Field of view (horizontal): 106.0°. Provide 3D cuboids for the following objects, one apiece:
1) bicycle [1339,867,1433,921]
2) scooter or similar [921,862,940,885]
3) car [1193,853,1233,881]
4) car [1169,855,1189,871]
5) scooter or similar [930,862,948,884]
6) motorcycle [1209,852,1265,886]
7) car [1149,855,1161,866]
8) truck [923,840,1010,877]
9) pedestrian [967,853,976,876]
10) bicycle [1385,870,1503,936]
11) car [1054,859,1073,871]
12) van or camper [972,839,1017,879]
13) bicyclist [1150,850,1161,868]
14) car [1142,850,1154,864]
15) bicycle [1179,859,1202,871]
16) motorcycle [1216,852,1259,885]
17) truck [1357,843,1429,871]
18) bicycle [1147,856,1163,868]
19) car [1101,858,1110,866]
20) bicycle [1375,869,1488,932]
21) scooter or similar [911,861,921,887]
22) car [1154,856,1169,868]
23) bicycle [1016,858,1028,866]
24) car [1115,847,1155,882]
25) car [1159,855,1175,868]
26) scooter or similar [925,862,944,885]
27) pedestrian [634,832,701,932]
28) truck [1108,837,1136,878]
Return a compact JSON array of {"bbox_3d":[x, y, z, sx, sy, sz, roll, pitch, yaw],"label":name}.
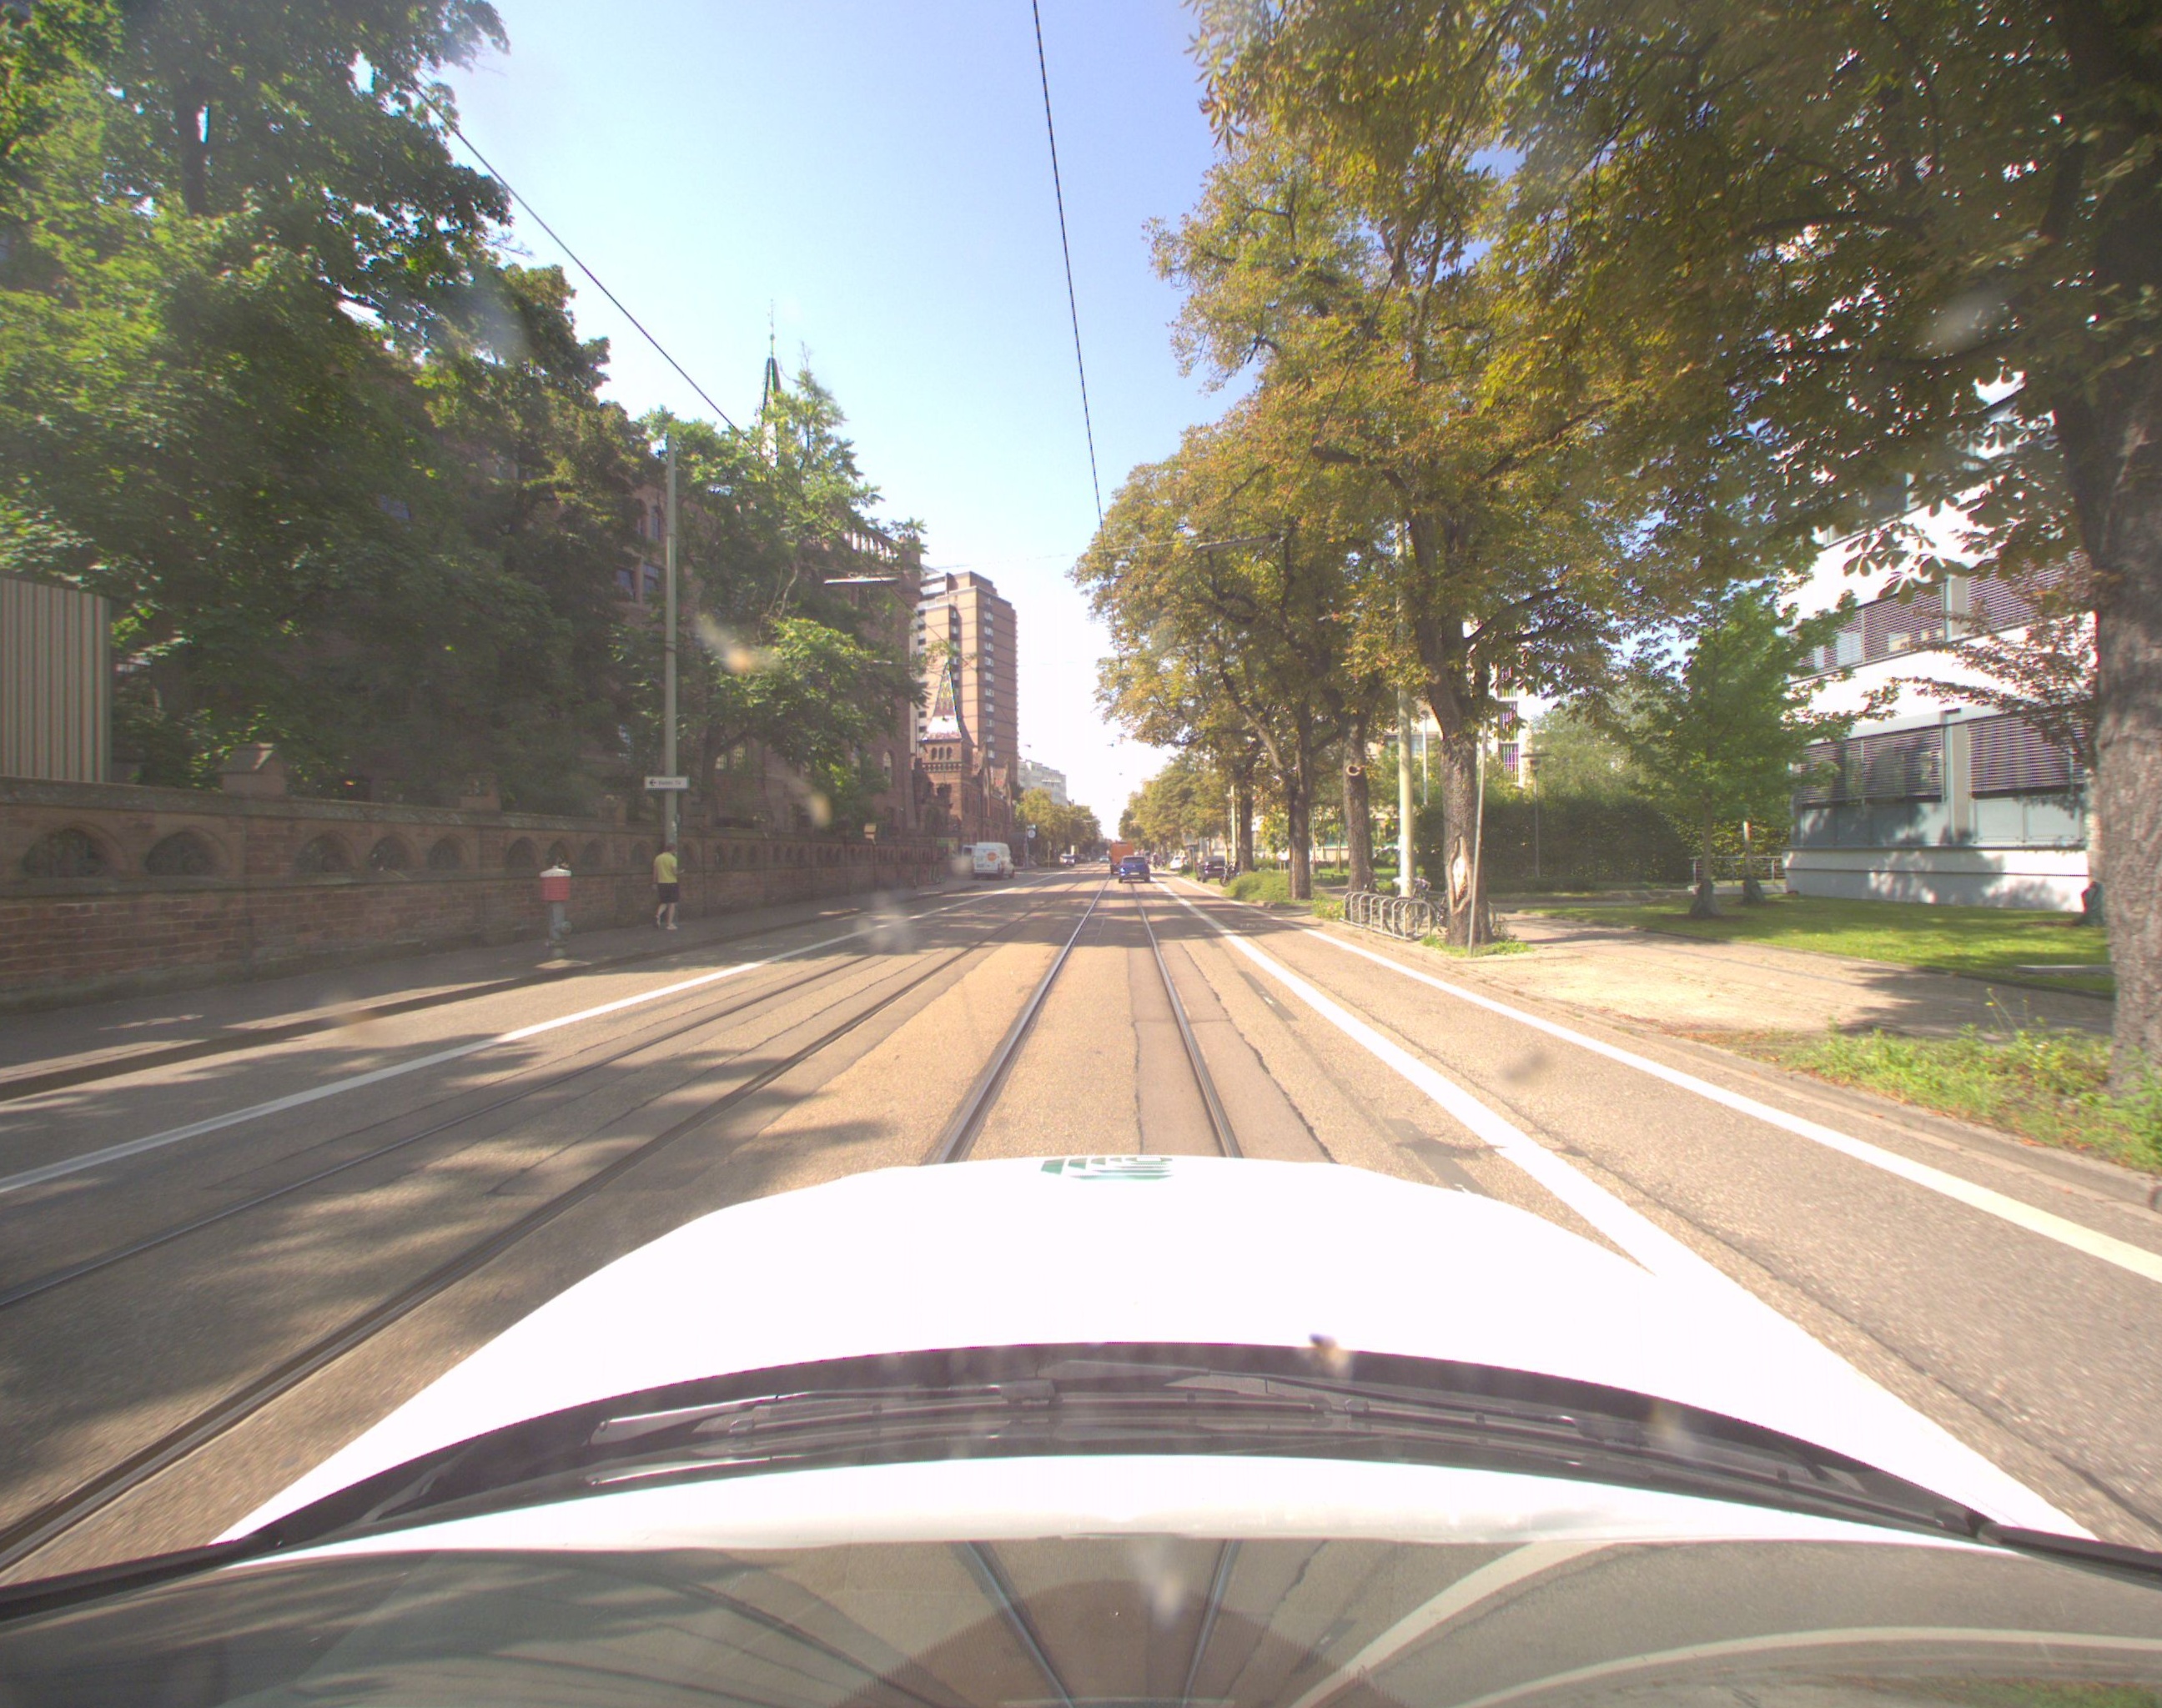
[{"bbox_3d":[6.417,0.835,17.182,1.764,1.050,0.541,-2,0,1],"label":"bicycle"},{"bbox_3d":[-7.816,1.019,42.348,0.336,1.178,1.185,-1,0,28],"label":"scooter or similar"},{"bbox_3d":[7.773,0.740,48.314,1.749,1.515,4.611,-2,0,2],"label":"car"},{"bbox_3d":[9.527,0.830,79.171,1.652,1.481,4.220,-2,-1,3],"label":"car"},{"bbox_3d":[-7.770,1.025,44.656,0.336,1.178,1.185,-1,0,28],"label":"scooter or similar"},{"bbox_3d":[7.196,0.679,37.655,2.424,1.516,0.858,-1,0,41],"label":"motorcycle"},{"bbox_3d":[11.967,1.002,132.277,1.734,1.668,4.363,-1,0,2],"label":"car"},{"bbox_3d":[-8.845,0.304,63.139,6.286,2.538,2.135,2,1,7],"label":"truck"},{"bbox_3d":[-7.728,0.722,57.607,0.495,1.599,0.553,-1,0,3],"label":"pedestrian"},{"bbox_3d":[6.231,0.827,14.027,1.764,1.050,0.541,-2,0,1],"label":"bicycle"},{"bbox_3d":[-2.704,1.640,126.417,1.754,1.796,3.970,0,0,-22],"label":"car"},{"bbox_3d":[-6.127,0.354,58.175,2.103,2.675,5.962,-1,0,4],"label":"van or camper"},{"bbox_3d":[7.426,0.483,81.202,1.027,1.812,1.017,-1,0,2],"label":"bicyclist"},{"bbox_3d":[13.429,0.663,163.383,1.986,2.755,5.763,-1,0,2],"label":"car"},{"bbox_3d":[8.913,0.912,66.417,1.804,0.958,0.558,-1,0,2],"label":"bicycle"},{"bbox_3d":[7.549,0.680,39.344,0.853,1.516,2.437,0,0,-22],"label":"motorcycle"},{"bbox_3d":[27.191,0.255,71.153,5.482,2.326,2.301,-1,0,4],"label":"truck"},{"bbox_3d":[7.393,0.767,81.190,1.396,1.134,4.003,-1,0,3],"label":"bicycle"},{"bbox_3d":[5.258,1.695,175.216,1.839,1.492,4.872,-2,0,3],"label":"car"},{"bbox_3d":[6.309,0.828,14.703,1.764,1.050,0.541,-2,0,1],"label":"bicycle"},{"bbox_3d":[-7.708,0.915,38.036,0.421,1.178,1.311,0,0,-13],"label":"scooter or similar"},{"bbox_3d":[10.732,1.064,109.099,1.735,1.556,4.220,-2,-1,3],"label":"car"},{"bbox_3d":[-7.671,1.047,106.110,1.447,1.093,0.399,3,-1,-2],"label":"bicycle"},{"bbox_3d":[3.128,0.563,47.517,2.127,1.858,5.572,-2,0,3],"label":"car"},{"bbox_3d":[10.318,0.913,97.549,1.652,1.408,4.220,-2,-1,3],"label":"car"},{"bbox_3d":[-7.844,1.022,43.523,0.336,1.178,1.185,-1,0,28],"label":"scooter or similar"},{"bbox_3d":[-8.630,0.569,17.037,0.861,2.014,0.983,-1,0,1],"label":"pedestrian"},{"bbox_3d":[3.346,0.255,66.434,2.127,3.124,6.089,-2,0,3],"label":"truck"}]
